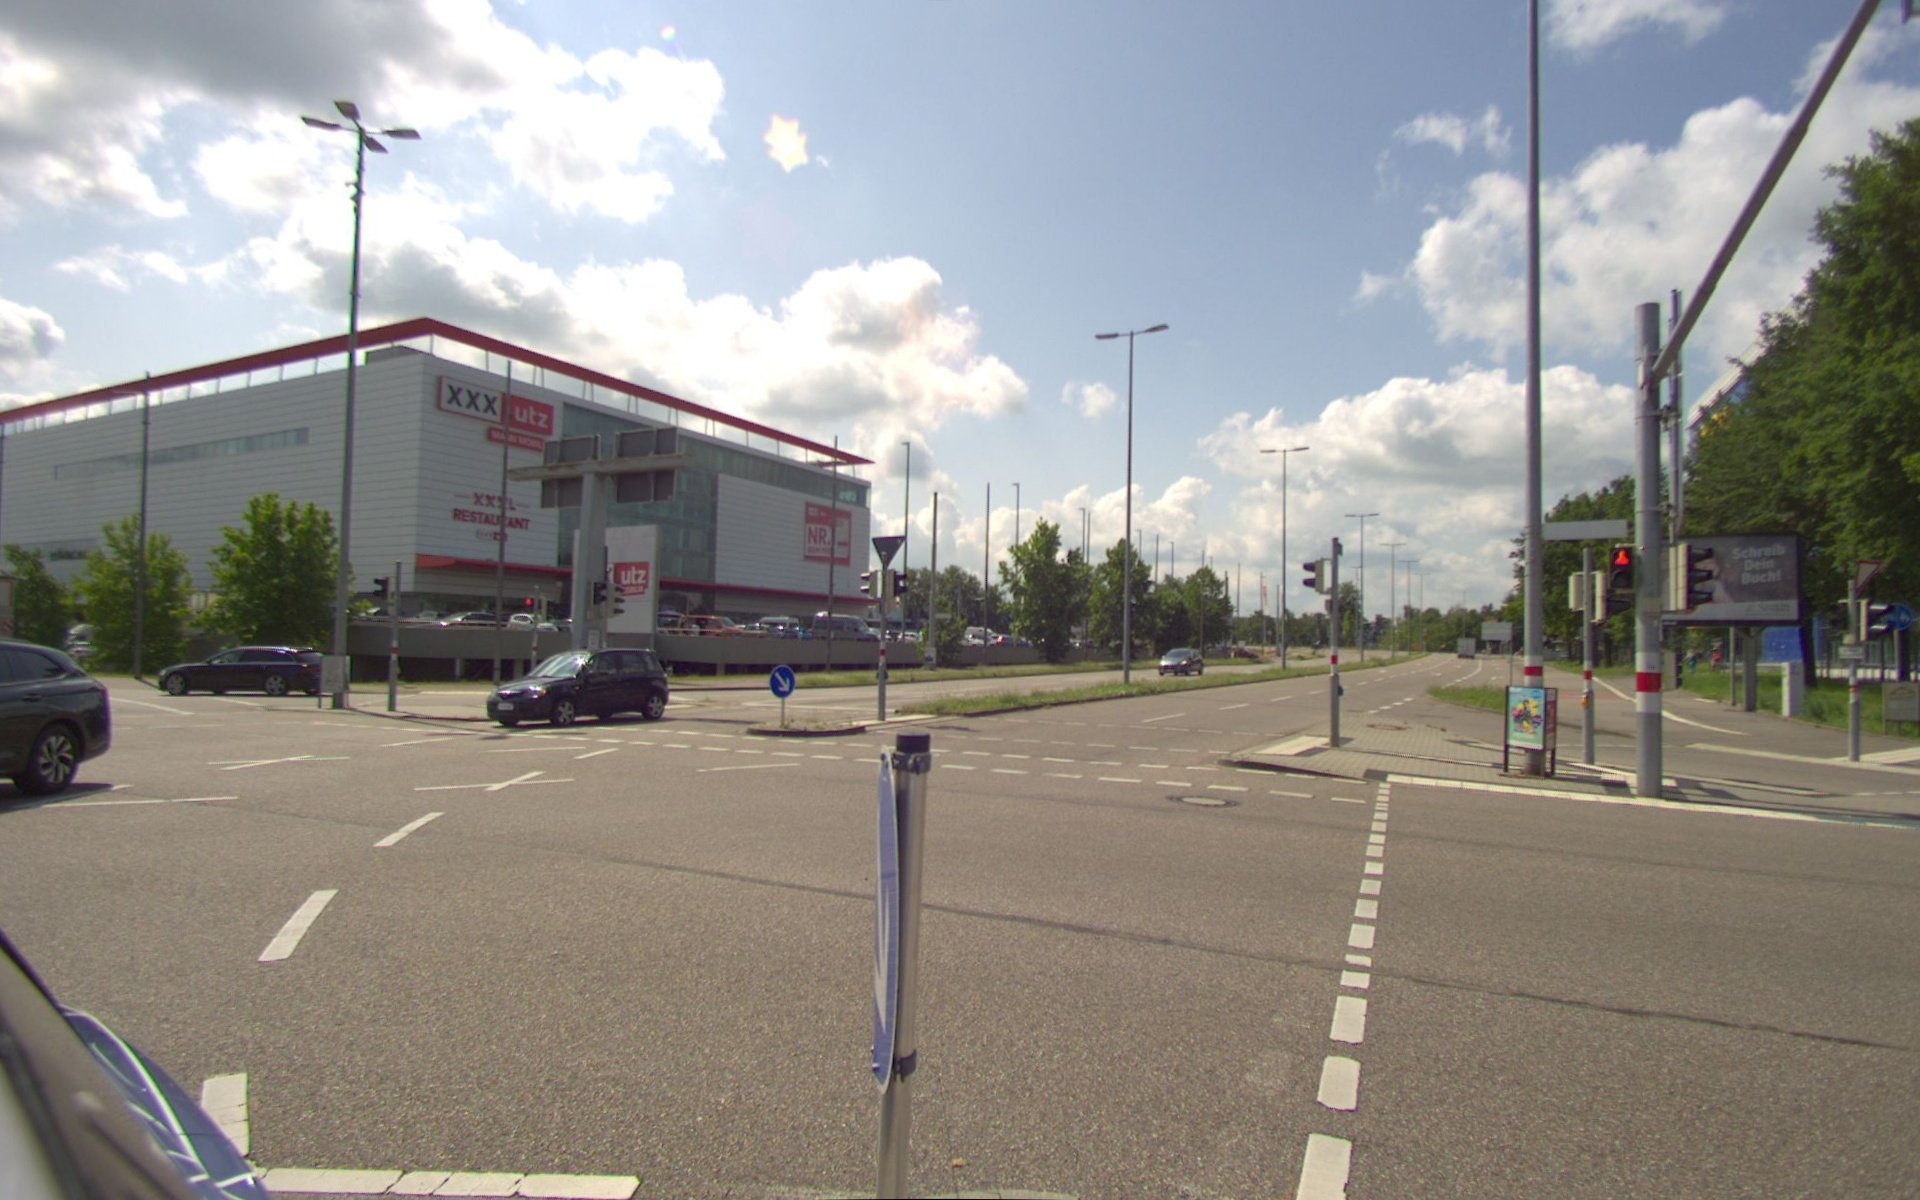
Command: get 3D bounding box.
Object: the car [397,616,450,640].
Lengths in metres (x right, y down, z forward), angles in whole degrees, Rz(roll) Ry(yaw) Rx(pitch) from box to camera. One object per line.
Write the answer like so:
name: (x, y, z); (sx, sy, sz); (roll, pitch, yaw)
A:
car: (-43.472, 2.286, 82.043); (4.401, 1.837, 1.545); (-1, -3, 27)

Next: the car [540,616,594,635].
car: (-31.354, 2.049, 80.693); (4.401, 1.482, 1.545); (-1, -3, 27)

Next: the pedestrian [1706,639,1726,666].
pedestrian: (48.652, 3.384, 65.144); (0.852, 1.741, 1.152); (-2, -3, 32)

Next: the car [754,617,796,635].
car: (-18.923, 2.660, 103.577); (3.983, 1.763, 1.897); (-2, -3, 29)

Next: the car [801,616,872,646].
car: (-10.106, 2.573, 82.795); (5.770, 2.301, 1.733); (-2, -3, 27)

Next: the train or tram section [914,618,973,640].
train or tram section: (-3.716, 6.430, 224.507); (13.046, 4.404, 3.696); (0, -2, 28)

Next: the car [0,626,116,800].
car: (-8.947, 0.906, 7.356); (1.785, 1.489, 5.212); (0, -3, -8)

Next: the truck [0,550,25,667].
truck: (-37.524, 0.434, 36.934); (9.050, 4.058, 3.184); (-3, -3, 36)

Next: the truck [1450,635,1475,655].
truck: (69.690, 6.230, 140.273); (2.960, 2.773, 5.730); (-2, -3, 27)

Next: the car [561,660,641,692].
car: (-21.062, 4.448, 59.523); (1.989, 1.763, 4.324); (-1, -3, 26)

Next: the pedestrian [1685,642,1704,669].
pedestrian: (47.819, 3.594, 65.893); (0.852, 1.741, 1.152); (-2, -3, 32)

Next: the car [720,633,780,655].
car: (-16.323, 3.434, 78.687); (4.405, 1.618, 1.935); (-2, -3, 30)

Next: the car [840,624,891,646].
car: (-7.963, 2.937, 85.138); (3.986, 1.807, 1.731); (-2, -3, 31)

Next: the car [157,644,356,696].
car: (-20.809, 2.051, 30.065); (4.611, 1.489, 1.780); (0, -3, -2)

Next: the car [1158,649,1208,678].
car: (12.481, 3.534, 56.585); (1.601, 1.542, 4.227); (-1, -3, 29)

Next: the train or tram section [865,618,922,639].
train or tram section: (-15.270, 6.594, 230.639); (13.045, 4.596, 3.696); (-2, -3, 28)

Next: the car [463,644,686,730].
car: (-7.720, 1.683, 20.707); (1.601, 1.542, 4.227); (-1, -3, 29)

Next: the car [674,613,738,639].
car: (-18.465, 1.889, 73.721); (4.152, 1.763, 1.906); (-2, -3, 17)

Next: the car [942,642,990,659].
car: (0.573, 5.011, 100.242); (4.405, 1.618, 1.935); (-2, -3, 30)

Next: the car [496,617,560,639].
car: (-31.130, 2.033, 72.920); (4.401, 1.482, 1.937); (-1, -3, 27)

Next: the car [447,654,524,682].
car: (-31.457, 4.457, 67.256); (1.989, 1.763, 4.324); (-1, -3, 26)
